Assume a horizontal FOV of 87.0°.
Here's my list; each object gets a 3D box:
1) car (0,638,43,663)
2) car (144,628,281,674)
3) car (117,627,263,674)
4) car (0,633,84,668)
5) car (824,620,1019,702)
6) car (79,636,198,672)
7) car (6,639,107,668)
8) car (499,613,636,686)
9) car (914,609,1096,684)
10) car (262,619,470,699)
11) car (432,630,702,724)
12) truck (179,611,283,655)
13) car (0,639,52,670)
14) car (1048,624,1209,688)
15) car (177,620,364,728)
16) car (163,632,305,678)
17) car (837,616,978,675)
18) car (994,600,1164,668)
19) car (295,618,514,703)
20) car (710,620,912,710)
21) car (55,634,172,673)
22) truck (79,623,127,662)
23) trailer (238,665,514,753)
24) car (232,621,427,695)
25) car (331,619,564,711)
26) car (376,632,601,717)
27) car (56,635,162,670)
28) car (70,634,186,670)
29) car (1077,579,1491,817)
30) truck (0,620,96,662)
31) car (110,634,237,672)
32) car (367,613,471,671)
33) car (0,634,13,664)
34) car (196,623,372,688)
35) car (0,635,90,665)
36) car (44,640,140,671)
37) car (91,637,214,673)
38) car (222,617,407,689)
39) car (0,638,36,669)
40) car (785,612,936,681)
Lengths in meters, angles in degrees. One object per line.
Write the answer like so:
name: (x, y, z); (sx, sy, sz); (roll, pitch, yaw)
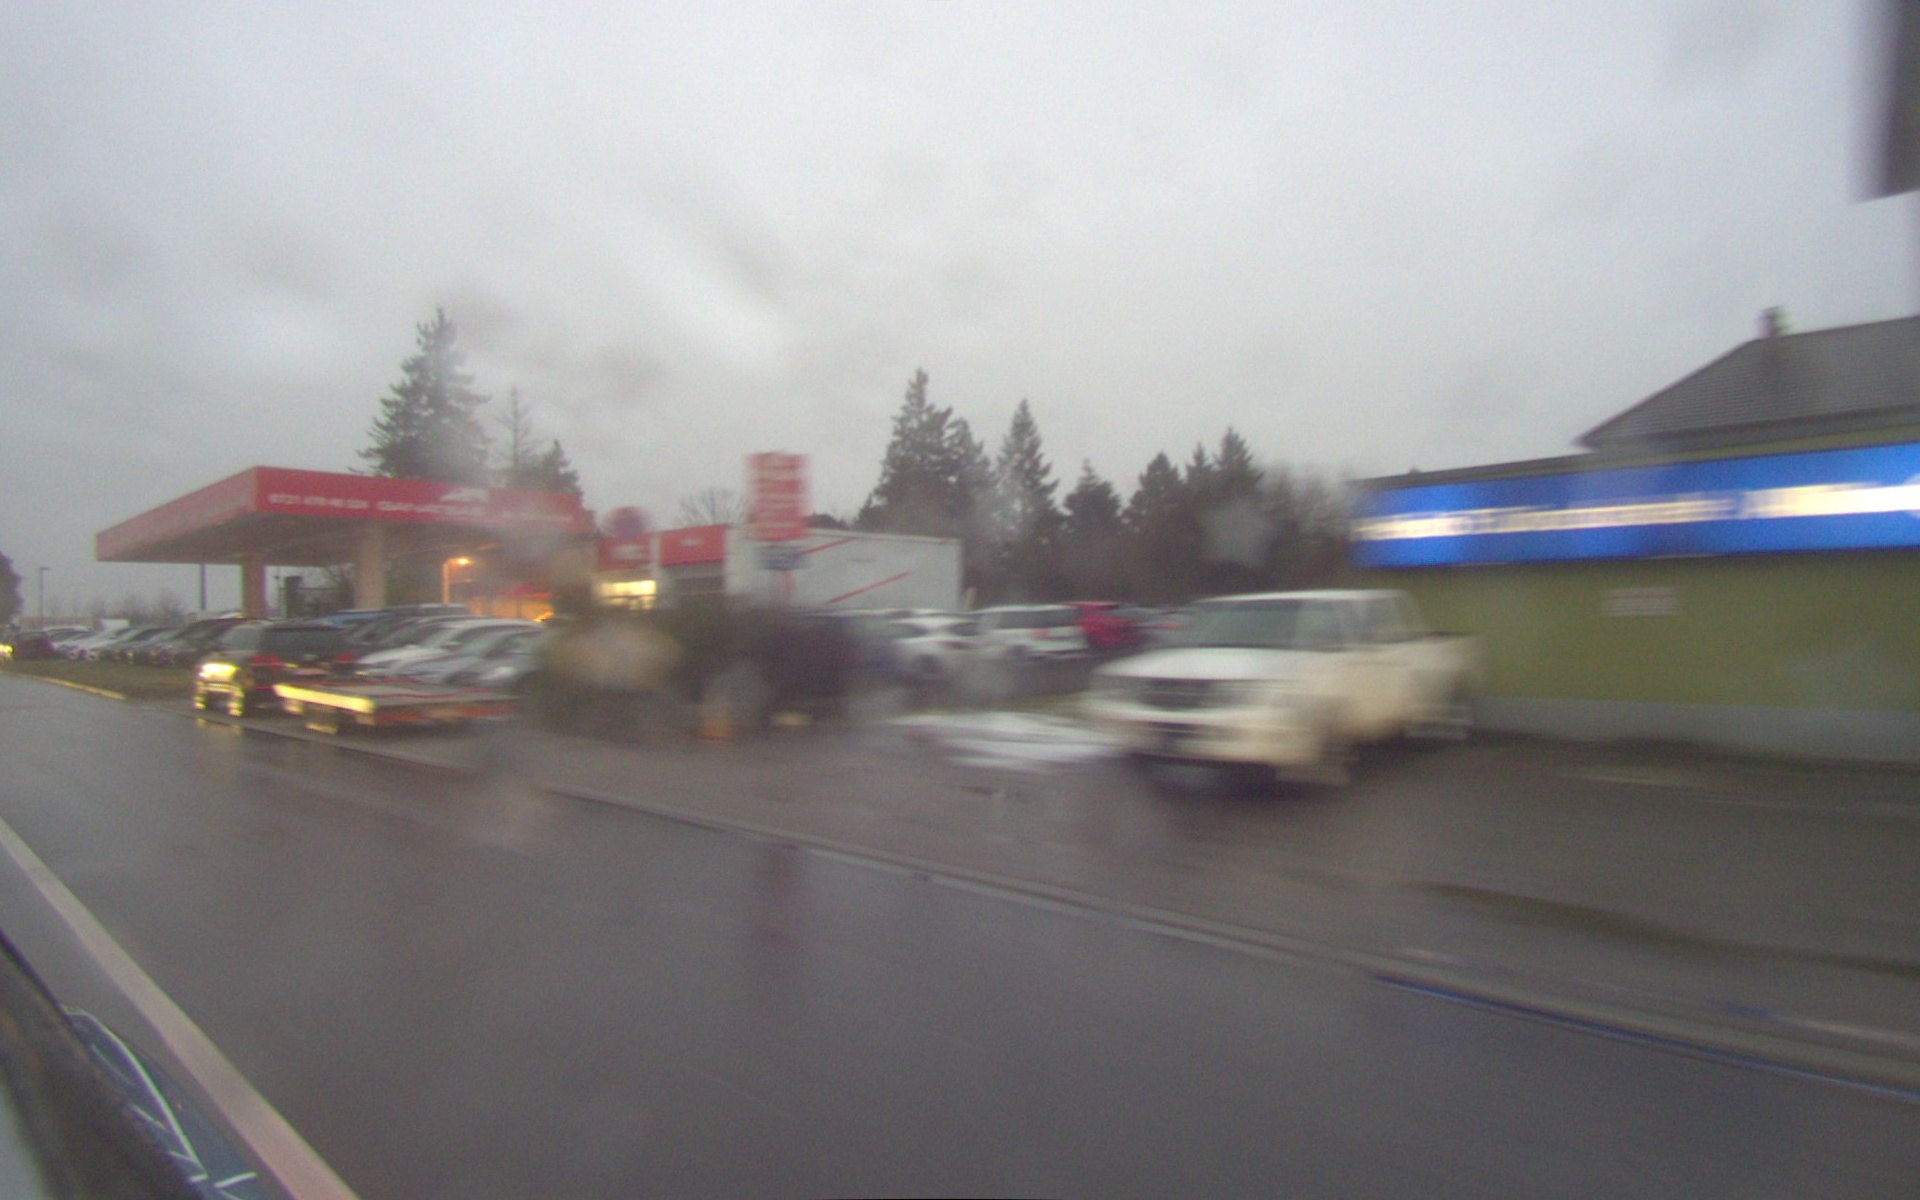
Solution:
car: (-83.282, 4.397, 87.887); (2.057, 2.167, 5.092); (-3, -4, 41)
car: (-27.771, 1.869, 37.691); (1.838, 1.571, 3.819); (-2, -2, 40)
car: (-29.843, 1.928, 39.313); (1.979, 1.669, 4.236); (-2, -2, 40)
car: (-75.330, 4.092, 82.197); (2.193, 2.659, 5.972); (-3, -3, 39)
car: (-0.900, 1.275, 22.183); (3.998, 1.637, 1.973); (-2, -2, 41)
car: (-36.135, 2.353, 44.590); (1.838, 1.416, 3.819); (-2, -2, 40)
car: (-53.575, 3.152, 60.052); (1.825, 1.509, 4.290); (-3, -2, 41)
car: (-11.147, 1.359, 28.639); (3.998, 1.918, 1.973); (-2, -2, 41)
car: (1.015, 1.084, 24.200); (3.998, 1.637, 1.973); (-2, -2, 41)
car: (-15.525, 1.479, 26.607); (2.136, 1.675, 4.232); (-2, 1, 41)
car: (-7.451, 1.392, 19.586); (1.918, 1.595, 4.511); (-2, -3, 40)
truck: (-78.072, 3.479, 108.593); (2.995, 4.293, 8.626); (-2, 0, 30)
car: (-46.077, 2.672, 49.892); (3.740, 1.431, 1.664); (-3, -2, 43)
car: (4.667, 1.515, 28.322); (3.998, 1.637, 1.973); (-2, -2, 41)
car: (-13.444, 1.363, 19.635); (4.510, 1.844, 1.950); (-2, -3, 42)
car: (-25.817, 1.929, 36.076); (1.838, 1.452, 3.819); (-2, -2, 40)
car: (-1.518, 1.264, 28.545); (3.904, 1.541, 1.717); (-2, -2, 42)
car: (3.061, 0.880, 26.423); (3.998, 1.637, 1.973); (-2, -2, 41)
car: (-13.509, 1.398, 24.801); (1.999, 1.675, 4.232); (-2, 1, 41)
car: (-3.111, 1.260, 20.721); (3.998, 1.637, 1.973); (-2, -2, 41)
car: (-40.066, 2.515, 47.951); (1.822, 1.566, 3.989); (-3, -1, 40)
truck: (-78.102, 3.937, 92.206); (5.842, 3.481, 2.012); (-3, -5, 37)
trailer: (-9.450, 1.612, 16.065); (6.101, 1.047, 1.972); (-3, -3, 42)
car: (-17.653, 1.558, 28.478); (1.999, 1.675, 4.232); (-2, 1, 41)
car: (-11.491, 1.391, 22.909); (1.999, 1.639, 4.232); (-2, 1, 41)
car: (-9.630, 1.457, 20.879); (1.719, 1.439, 3.852); (-2, -1, 42)
car: (-44.191, 2.685, 52.587); (1.941, 1.662, 4.003); (-3, -2, 43)
car: (-38.127, 2.375, 46.434); (1.942, 1.420, 3.819); (-2, -1, 40)
car: (3.524, 0.780, 10.243); (2.000, 1.804, 5.132); (-2, -2, 43)
truck: (-72.600, 3.204, 79.625); (2.332, 3.166, 6.790); (-3, -2, 39)
car: (-31.984, 2.130, 41.205); (1.838, 1.356, 3.819); (-2, -2, 40)
car: (-18.732, 1.422, 34.960); (3.998, 1.883, 1.866); (-2, -2, 41)
car: (-88.316, 4.381, 89.698); (2.175, 2.652, 6.092); (-3, -4, 41)
car: (-21.323, 1.692, 32.032); (1.999, 1.675, 4.232); (-2, 1, 41)
car: (-57.643, 3.120, 63.356); (2.007, 1.689, 4.492); (-3, -2, 37)
car: (-47.755, 3.048, 55.703); (1.774, 1.470, 3.735); (-3, -1, 38)
car: (-34.166, 2.310, 42.884); (1.838, 1.356, 3.819); (-2, -2, 40)
car: (-19.266, 1.534, 30.333); (1.999, 1.777, 4.232); (-2, 1, 41)
car: (-49.126, 2.783, 52.412); (3.013, 1.555, 1.502); (-3, -3, 41)
car: (-2.716, 1.214, 27.148); (3.999, 1.636, 1.778); (-2, 0, 42)
